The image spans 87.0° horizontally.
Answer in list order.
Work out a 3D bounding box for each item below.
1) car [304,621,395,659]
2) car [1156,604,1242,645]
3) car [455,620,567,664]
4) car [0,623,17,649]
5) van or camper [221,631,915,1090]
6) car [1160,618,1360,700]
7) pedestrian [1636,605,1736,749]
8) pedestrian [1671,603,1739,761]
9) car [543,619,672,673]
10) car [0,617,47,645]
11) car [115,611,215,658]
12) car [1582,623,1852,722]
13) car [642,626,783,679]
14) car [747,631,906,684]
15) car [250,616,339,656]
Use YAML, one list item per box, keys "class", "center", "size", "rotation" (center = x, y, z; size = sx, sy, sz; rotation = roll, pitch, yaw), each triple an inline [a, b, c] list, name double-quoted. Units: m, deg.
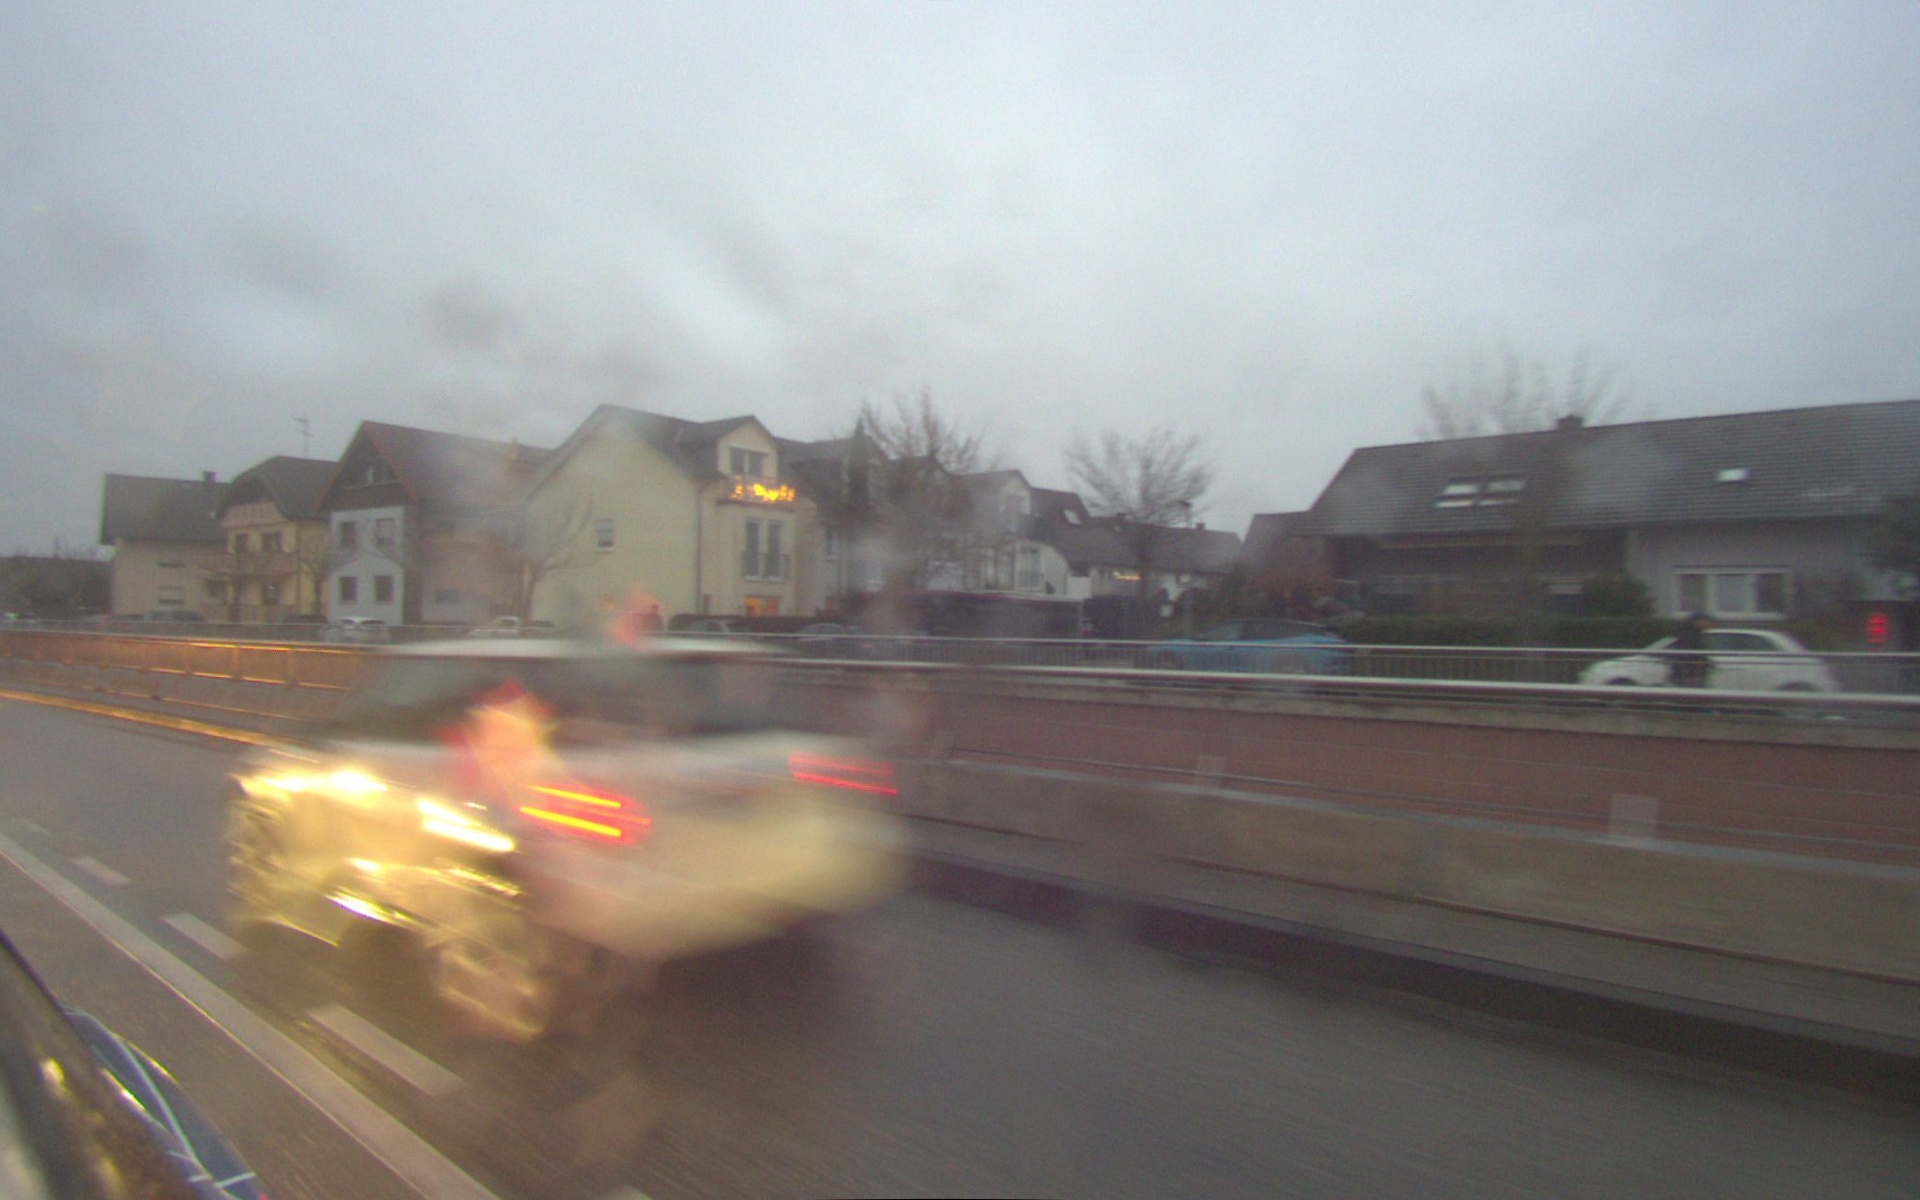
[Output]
- class: "car"
  center: [-26.838, 1.715, 44.469]
  size: [4.017, 1.535, 1.756]
  rotation: [0, -1, 31]
- class: "car"
  center: [12.408, 1.237, 52.575]
  size: [3.988, 2.029, 1.978]
  rotation: [0, 1, 33]
- class: "car"
  center: [-17.025, 1.600, 38.344]
  size: [4.211, 1.611, 1.859]
  rotation: [-1, -3, 32]
- class: "car"
  center: [-62.746, 2.296, 65.157]
  size: [3.985, 1.529, 1.883]
  rotation: [1, 2, 31]
- class: "van or camper"
  center: [-1.996, 0.836, 4.744]
  size: [3.418, 1.366, 1.546]
  rotation: [-1, -3, 39]
- class: "car"
  center: [6.384, 1.214, 21.657]
  size: [3.811, 1.592, 1.551]
  rotation: [0, -3, 35]
- class: "pedestrian"
  center: [9.582, 0.972, 13.360]
  size: [0.973, 1.798, 0.918]
  rotation: [-1, -1, 41]
- class: "pedestrian"
  center: [8.434, 0.896, 11.452]
  size: [0.541, 1.710, 0.656]
  rotation: [-1, -1, 41]
- class: "car"
  center: [-12.268, 1.593, 35.137]
  size: [4.487, 1.792, 1.859]
  rotation: [-1, -3, 33]
- class: "car"
  center: [-58.582, 1.900, 62.751]
  size: [3.970, 1.636, 1.804]
  rotation: [-1, 1, 31]
- class: "car"
  center: [-32.556, 1.384, 41.418]
  size: [3.842, 1.817, 1.788]
  rotation: [0, -1, 28]
- class: "car"
  center: [12.433, 1.126, 16.781]
  size: [3.455, 1.438, 1.468]
  rotation: [0, -1, 39]
- class: "car"
  center: [-7.930, 1.663, 32.321]
  size: [4.490, 1.585, 1.858]
  rotation: [-2, -4, 34]
- class: "car"
  center: [-3.911, 1.648, 29.382]
  size: [4.490, 1.444, 1.858]
  rotation: [-2, -4, 34]
- class: "car"
  center: [-30.499, 1.623, 46.377]
  size: [3.985, 1.694, 1.845]
  rotation: [0, 1, 31]
